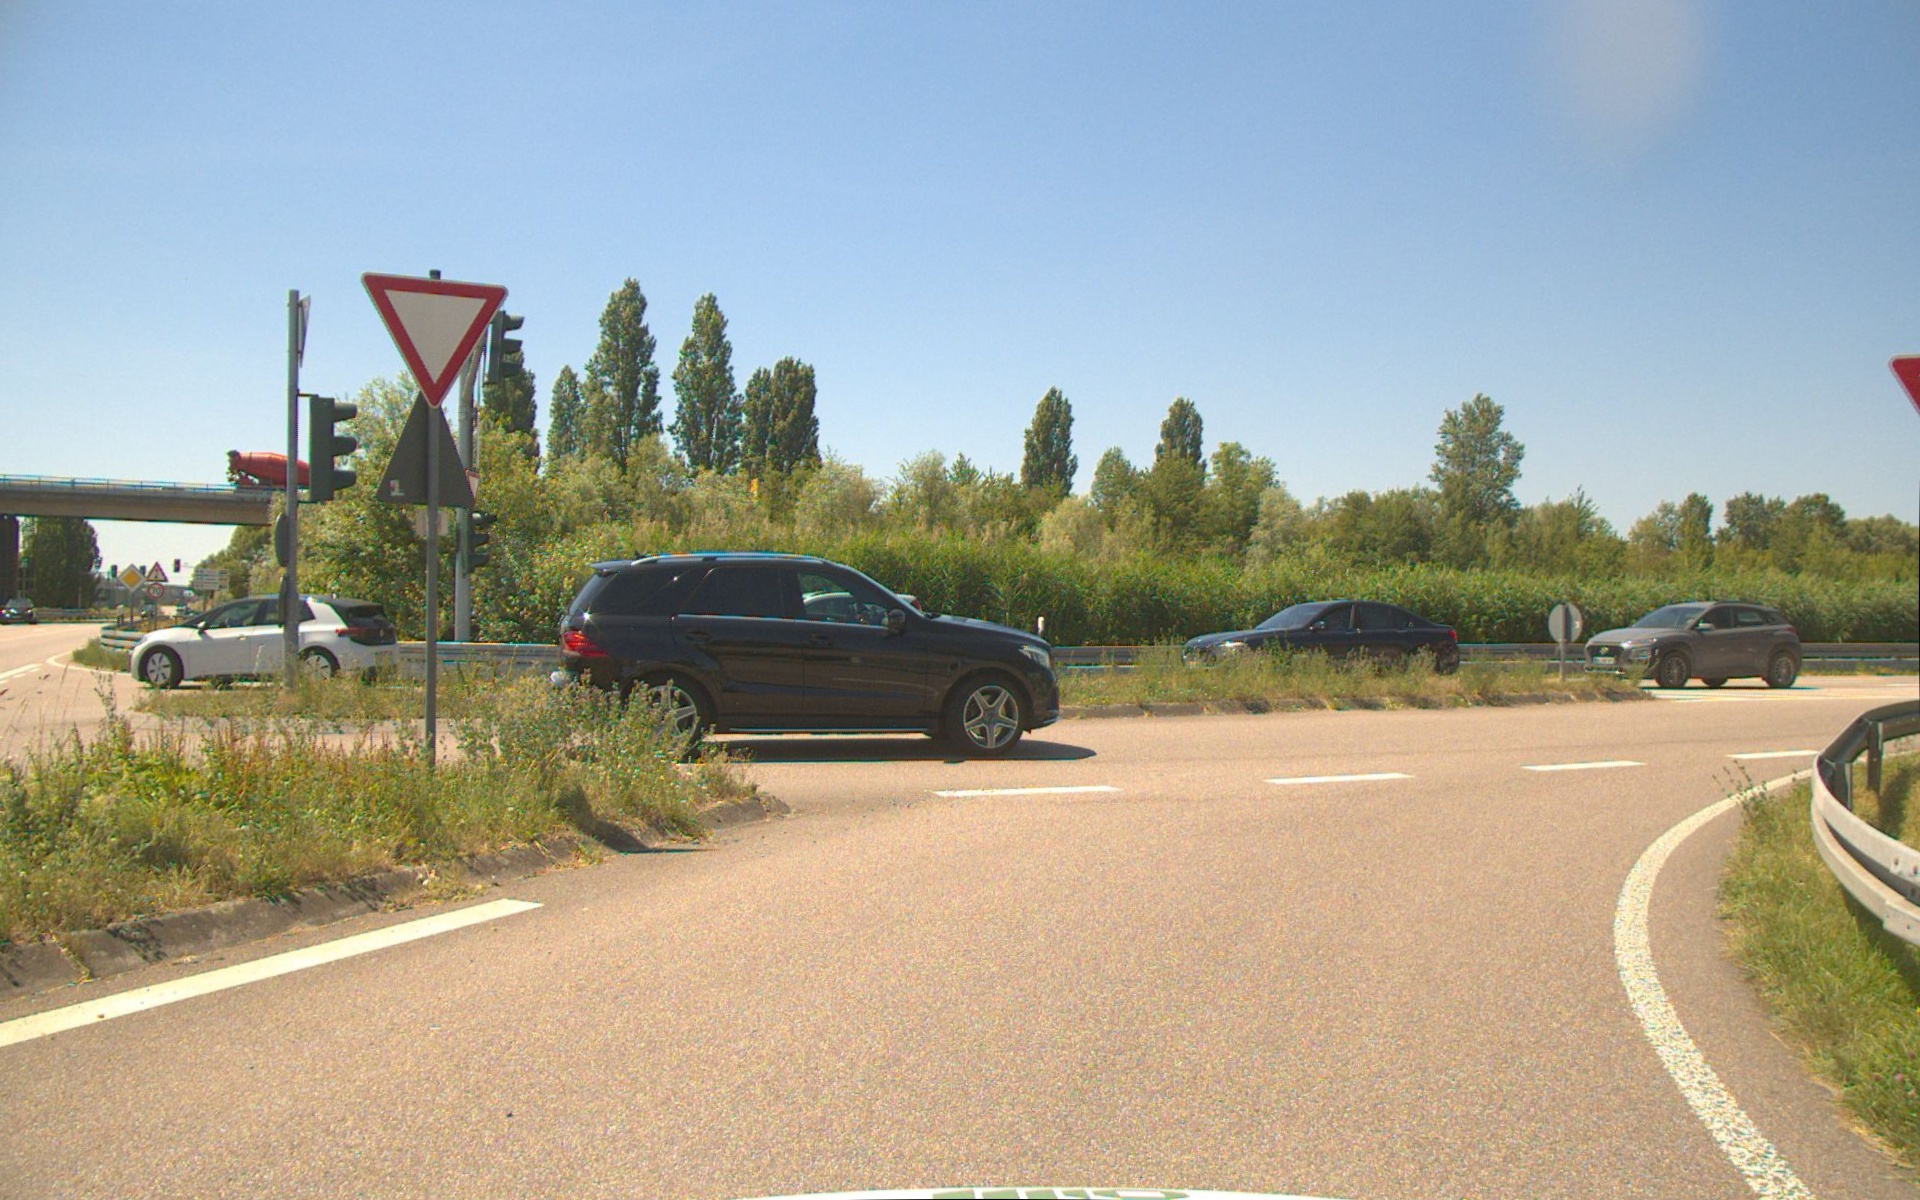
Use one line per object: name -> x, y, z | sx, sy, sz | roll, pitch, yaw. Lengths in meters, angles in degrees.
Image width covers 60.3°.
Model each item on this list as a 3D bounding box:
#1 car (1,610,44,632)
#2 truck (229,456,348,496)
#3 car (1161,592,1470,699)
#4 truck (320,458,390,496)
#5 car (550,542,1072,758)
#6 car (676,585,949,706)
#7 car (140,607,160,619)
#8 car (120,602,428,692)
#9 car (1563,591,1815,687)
car -> -61.476, 1.351, 108.485 | 1.967, 1.422, 4.374 | 0, 0, -24
truck -> -51.107, -9.419, 126.050 | 8.382, 2.721, 1.986 | 0, 0, -24
car -> 5.955, 0.714, 27.701 | 4.855, 1.660, 1.921 | 0, 0, -22
truck -> -46.711, -9.460, 127.734 | 5.013, 2.721, 1.989 | 0, 0, -19
car -> -1.405, 0.444, 15.229 | 4.502, 1.798, 1.928 | 1, 0, -13
car -> -2.170, 0.613, 24.231 | 3.657, 1.660, 1.722 | 0, 0, -23
car -> -99.940, 1.615, 204.073 | 1.967, 1.422, 4.374 | 0, 0, -24
car -> -11.357, 0.753, 27.528 | 4.298, 1.422, 2.002 | 0, 0, 7
car -> 13.424, 0.679, 30.467 | 4.165, 1.660, 1.921 | 0, 0, -22
